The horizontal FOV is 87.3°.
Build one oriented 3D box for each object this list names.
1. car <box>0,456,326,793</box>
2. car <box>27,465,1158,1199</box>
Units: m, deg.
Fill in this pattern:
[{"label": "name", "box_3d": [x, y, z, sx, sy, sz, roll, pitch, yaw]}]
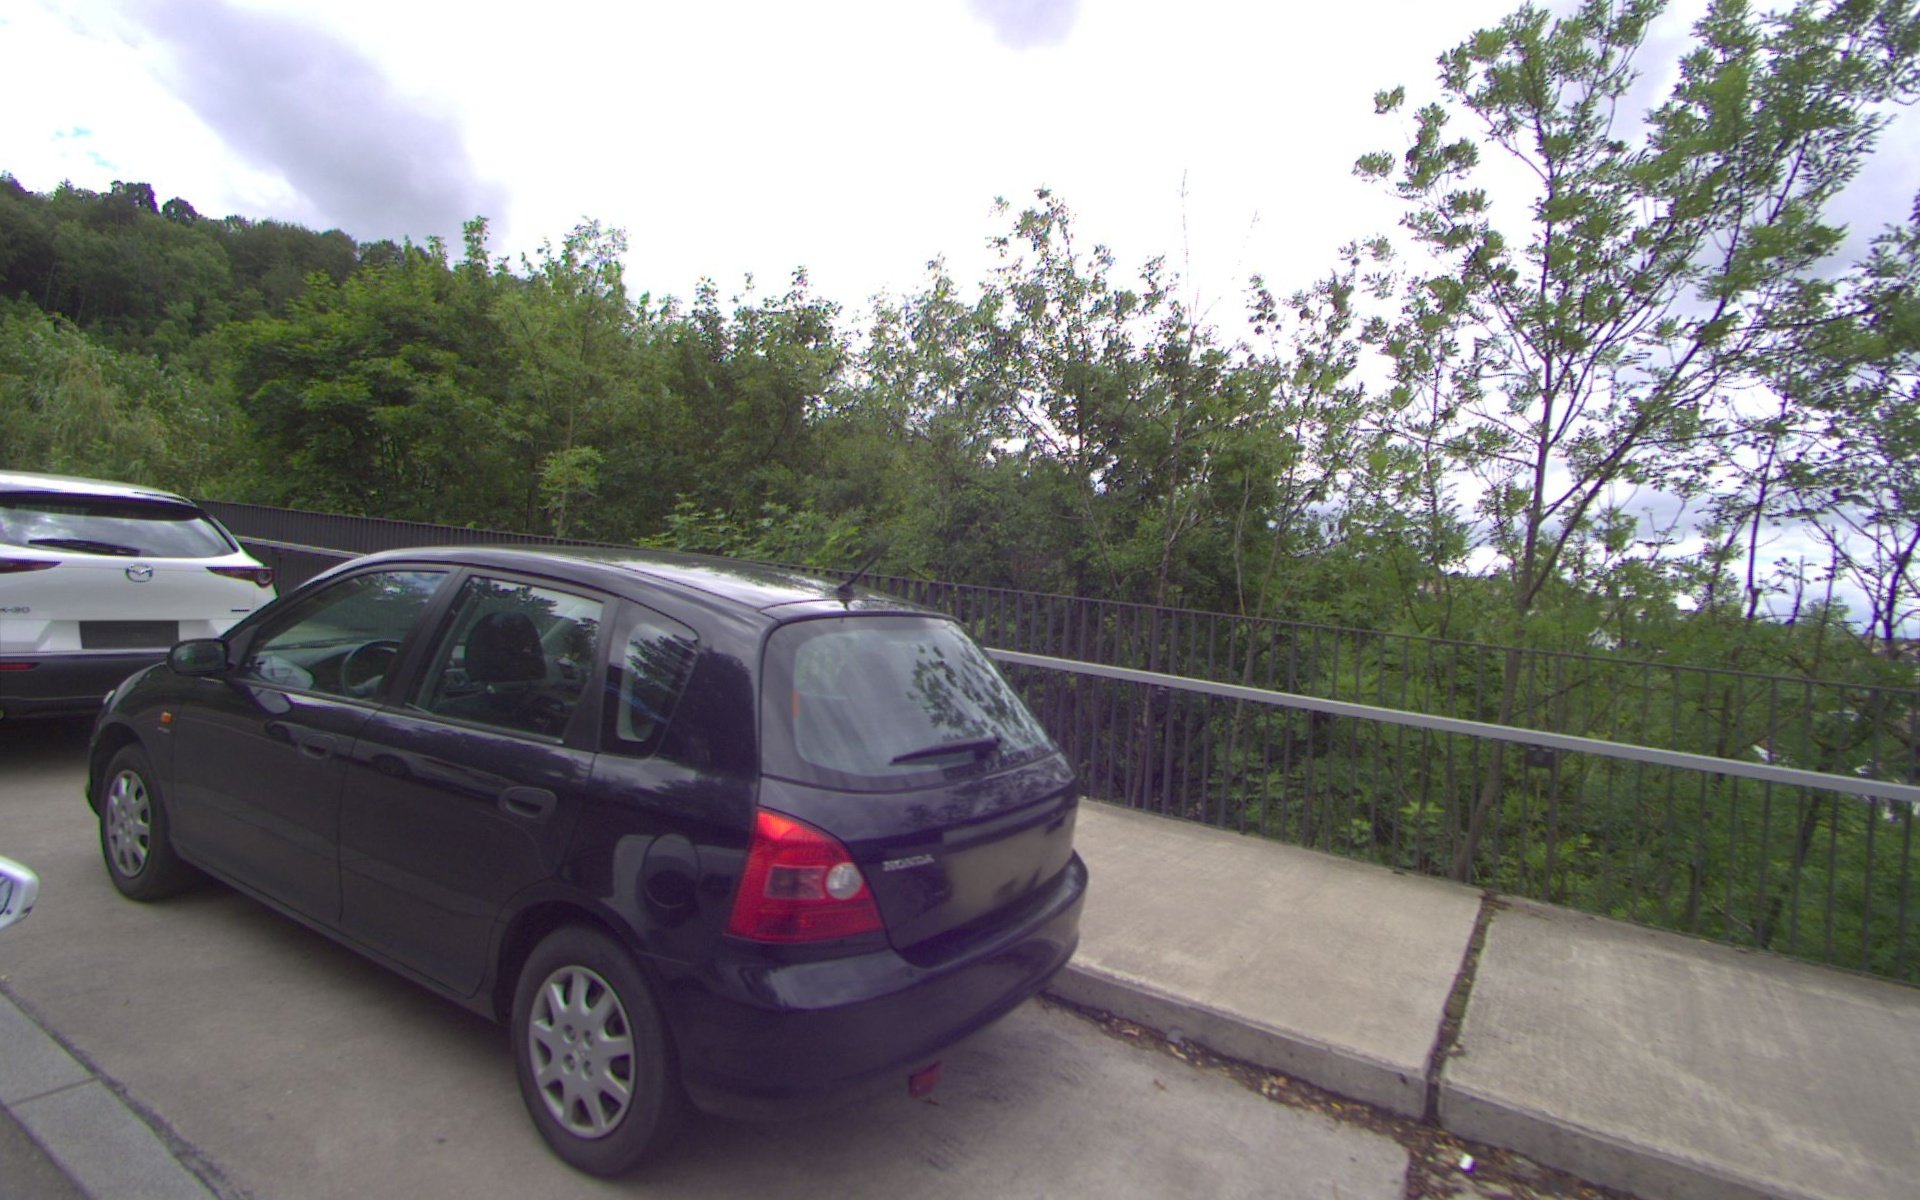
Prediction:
[{"label": "car", "box_3d": [-6.145, -0.063, 6.378, 4.548, 1.589, 1.727, 6, 2, 32]}, {"label": "car", "box_3d": [-1.614, 0.459, 3.731, 4.185, 1.594, 1.659, 7, 3, 32]}]
